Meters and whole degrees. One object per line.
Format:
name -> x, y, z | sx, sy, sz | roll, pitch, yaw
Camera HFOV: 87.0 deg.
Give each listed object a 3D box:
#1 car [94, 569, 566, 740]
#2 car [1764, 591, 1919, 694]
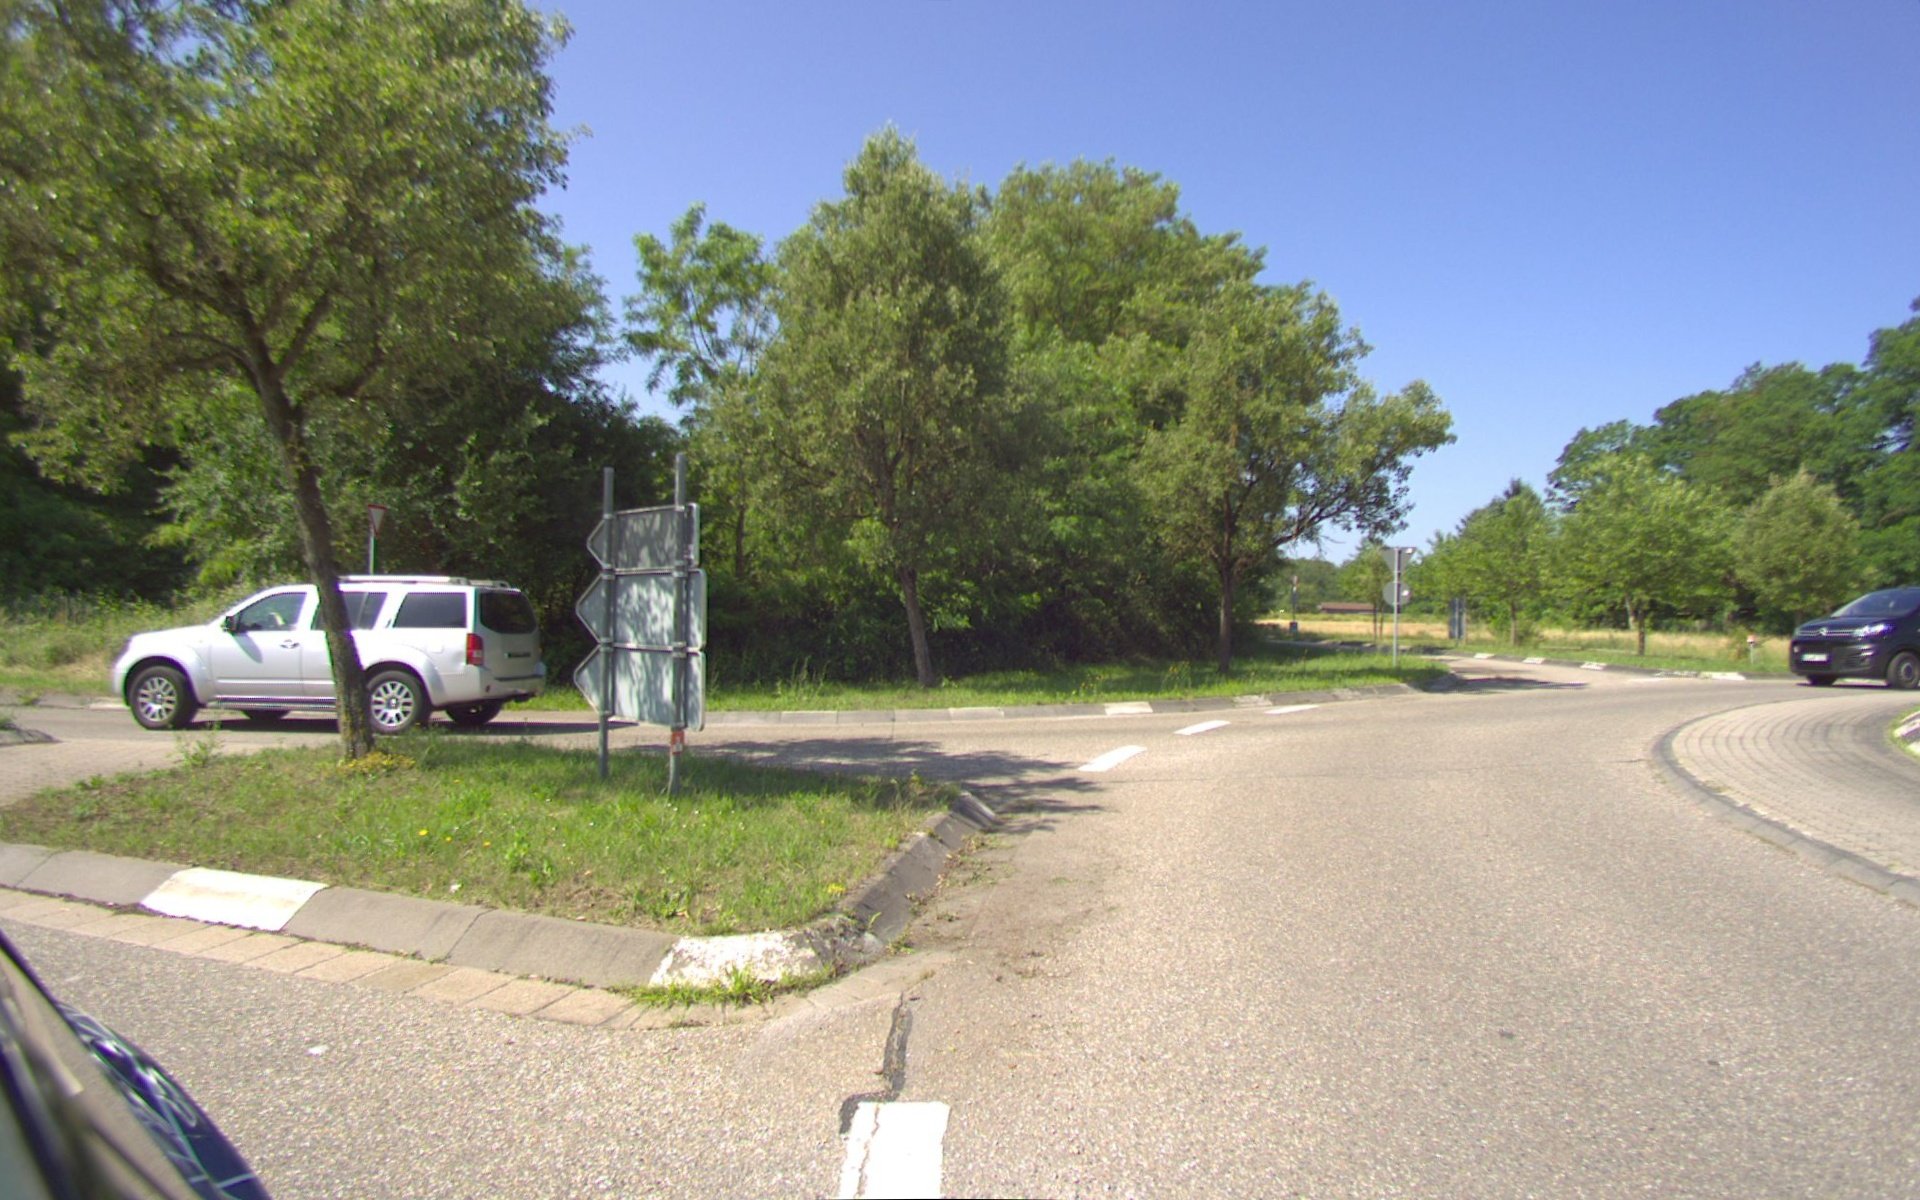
car -> -7.423, 0.648, 12.263 | 4.535, 1.830, 1.898 | 1, -3, 3
car -> 17.477, 0.734, 17.926 | 4.656, 1.727, 2.099 | 0, -1, 3
